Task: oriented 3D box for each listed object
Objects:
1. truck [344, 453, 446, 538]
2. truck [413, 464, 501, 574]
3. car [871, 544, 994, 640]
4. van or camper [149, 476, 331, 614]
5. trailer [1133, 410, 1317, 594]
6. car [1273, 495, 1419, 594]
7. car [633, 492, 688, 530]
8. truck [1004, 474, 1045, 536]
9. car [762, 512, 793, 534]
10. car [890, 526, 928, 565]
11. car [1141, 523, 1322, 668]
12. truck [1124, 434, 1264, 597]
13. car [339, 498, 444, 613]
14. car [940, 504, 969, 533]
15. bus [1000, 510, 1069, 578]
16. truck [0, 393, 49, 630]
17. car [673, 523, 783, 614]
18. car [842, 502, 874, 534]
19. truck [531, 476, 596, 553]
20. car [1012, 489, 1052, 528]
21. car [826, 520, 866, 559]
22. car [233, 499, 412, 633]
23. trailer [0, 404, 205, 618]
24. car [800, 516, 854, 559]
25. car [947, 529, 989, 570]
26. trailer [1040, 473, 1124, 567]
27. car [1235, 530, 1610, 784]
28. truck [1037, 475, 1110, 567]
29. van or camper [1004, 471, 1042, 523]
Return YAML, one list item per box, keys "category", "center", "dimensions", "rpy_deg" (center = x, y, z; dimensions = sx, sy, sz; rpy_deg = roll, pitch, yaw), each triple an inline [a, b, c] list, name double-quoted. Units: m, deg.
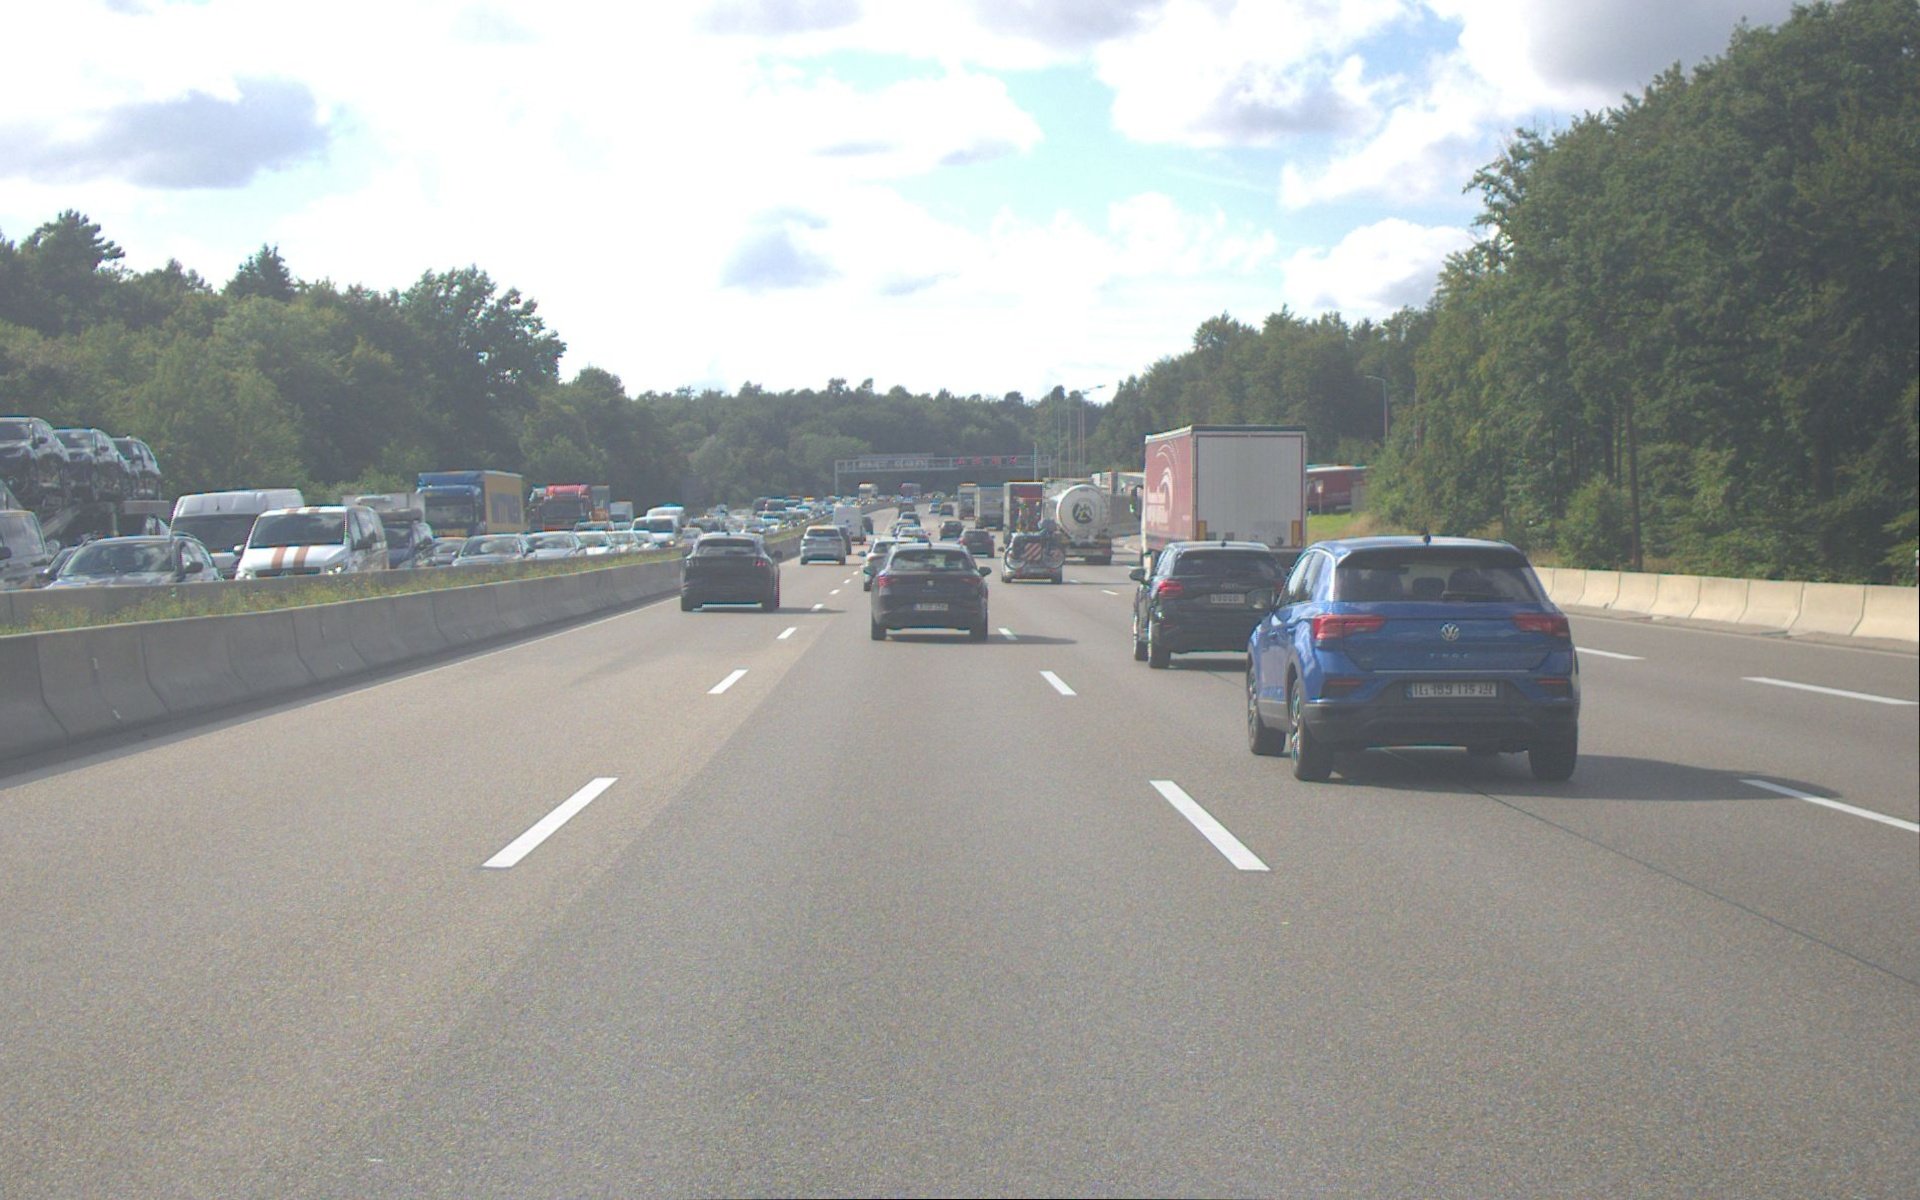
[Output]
- category: "truck"
  center: [-19.566, -3.611, 119.375]
  dimensions: [2.328, 2.792, 7.950]
  rpy_deg: [2, 1, -1]
- category: "truck"
  center: [-19.568, -3.110, 133.928]
  dimensions: [2.735, 4.134, 5.617]
  rpy_deg: [1, 0, -2]
- category: "car"
  center: [-0.451, -0.150, 51.766]
  dimensions: [1.734, 1.360, 4.000]
  rpy_deg: [1, 1, -2]
- category: "van or camper"
  center: [-14.866, -1.105, 71.418]
  dimensions: [2.391, 2.702, 6.631]
  rpy_deg: [1, 0, 0]
- category: "trailer"
  center: [6.174, -2.177, 82.490]
  dimensions: [3.038, 4.021, 13.891]
  rpy_deg: [1, 0, -1]
- category: "car"
  center: [6.129, -0.883, 54.981]
  dimensions: [1.715, 1.506, 4.302]
  rpy_deg: [-1, 1, -2]
- category: "car"
  center: [-11.816, -3.514, 135.758]
  dimensions: [1.849, 1.350, 5.489]
  rpy_deg: [1, 0, -2]
- category: "truck"
  center: [3.974, -5.837, 213.346]
  dimensions: [2.358, 3.560, 11.266]
  rpy_deg: [1, 0, 0]
- category: "car"
  center: [-13.348, -5.664, 252.277]
  dimensions: [1.993, 1.567, 4.816]
  rpy_deg: [0, 2, 0]
- category: "car"
  center: [-2.803, -2.958, 187.422]
  dimensions: [1.993, 2.007, 4.000]
  rpy_deg: [-1, 0, -1]
- category: "car"
  center: [3.229, -0.077, 41.533]
  dimensions: [1.799, 1.639, 4.000]
  rpy_deg: [1, 1, -1]
- category: "truck"
  center: [6.012, -2.126, 89.362]
  dimensions: [3.080, 4.049, 6.070]
  rpy_deg: [1, 0, -1]
- category: "car"
  center: [-15.423, -1.240, 93.445]
  dimensions: [1.993, 2.953, 5.403]
  rpy_deg: [2, 1, -1]
- category: "car"
  center: [-0.434, -5.882, 248.138]
  dimensions: [1.993, 2.007, 4.000]
  rpy_deg: [1, 1, -1]
- category: "bus"
  center: [2.279, -1.707, 105.869]
  dimensions: [1.993, 2.007, 4.000]
  rpy_deg: [1, 0, -1]
- category: "truck"
  center: [-18.557, -1.612, 61.819]
  dimensions: [2.853, 4.219, 5.713]
  rpy_deg: [1, 1, -1]
- category: "car"
  center: [-4.700, -0.668, 70.045]
  dimensions: [1.993, 1.770, 4.000]
  rpy_deg: [1, 1, -1]
- category: "car"
  center: [-6.530, -5.244, 220.725]
  dimensions: [1.993, 2.007, 4.000]
  rpy_deg: [1, 1, -1]
- category: "truck"
  center: [-20.758, -4.489, 180.171]
  dimensions: [2.775, 3.924, 6.854]
  rpy_deg: [1, 2, -2]
- category: "car"
  center: [3.878, -4.941, 186.934]
  dimensions: [1.993, 2.007, 4.000]
  rpy_deg: [1, 0, -1]
- category: "car"
  center: [-6.045, -3.218, 182.658]
  dimensions: [1.993, 2.007, 4.000]
  rpy_deg: [1, 1, -1]
- category: "car"
  center: [-10.446, -0.541, 56.717]
  dimensions: [1.993, 2.093, 5.278]
  rpy_deg: [1, 0, 0]
- category: "trailer"
  center: [-18.761, -1.683, 71.460]
  dimensions: [2.830, 3.961, 16.006]
  rpy_deg: [1, 0, -1]
- category: "car"
  center: [-5.710, -2.689, 147.810]
  dimensions: [2.154, 1.770, 4.000]
  rpy_deg: [1, 1, -1]
- category: "car"
  center: [0.376, -2.555, 172.700]
  dimensions: [1.993, 2.007, 4.000]
  rpy_deg: [1, 1, -1]
- category: "trailer"
  center: [5.343, -3.485, 152.822]
  dimensions: [3.036, 4.002, 12.246]
  rpy_deg: [0, 1, -1]
- category: "car"
  center: [2.985, 0.323, 23.125]
  dimensions: [1.924, 1.536, 4.645]
  rpy_deg: [0, 0, 0]
- category: "truck"
  center: [5.225, -3.650, 159.493]
  dimensions: [3.045, 4.146, 7.127]
  rpy_deg: [0, 1, -1]
- category: "van or camper"
  center: [4.023, -6.566, 220.267]
  dimensions: [2.351, 3.133, 5.710]
  rpy_deg: [1, 0, 0]
